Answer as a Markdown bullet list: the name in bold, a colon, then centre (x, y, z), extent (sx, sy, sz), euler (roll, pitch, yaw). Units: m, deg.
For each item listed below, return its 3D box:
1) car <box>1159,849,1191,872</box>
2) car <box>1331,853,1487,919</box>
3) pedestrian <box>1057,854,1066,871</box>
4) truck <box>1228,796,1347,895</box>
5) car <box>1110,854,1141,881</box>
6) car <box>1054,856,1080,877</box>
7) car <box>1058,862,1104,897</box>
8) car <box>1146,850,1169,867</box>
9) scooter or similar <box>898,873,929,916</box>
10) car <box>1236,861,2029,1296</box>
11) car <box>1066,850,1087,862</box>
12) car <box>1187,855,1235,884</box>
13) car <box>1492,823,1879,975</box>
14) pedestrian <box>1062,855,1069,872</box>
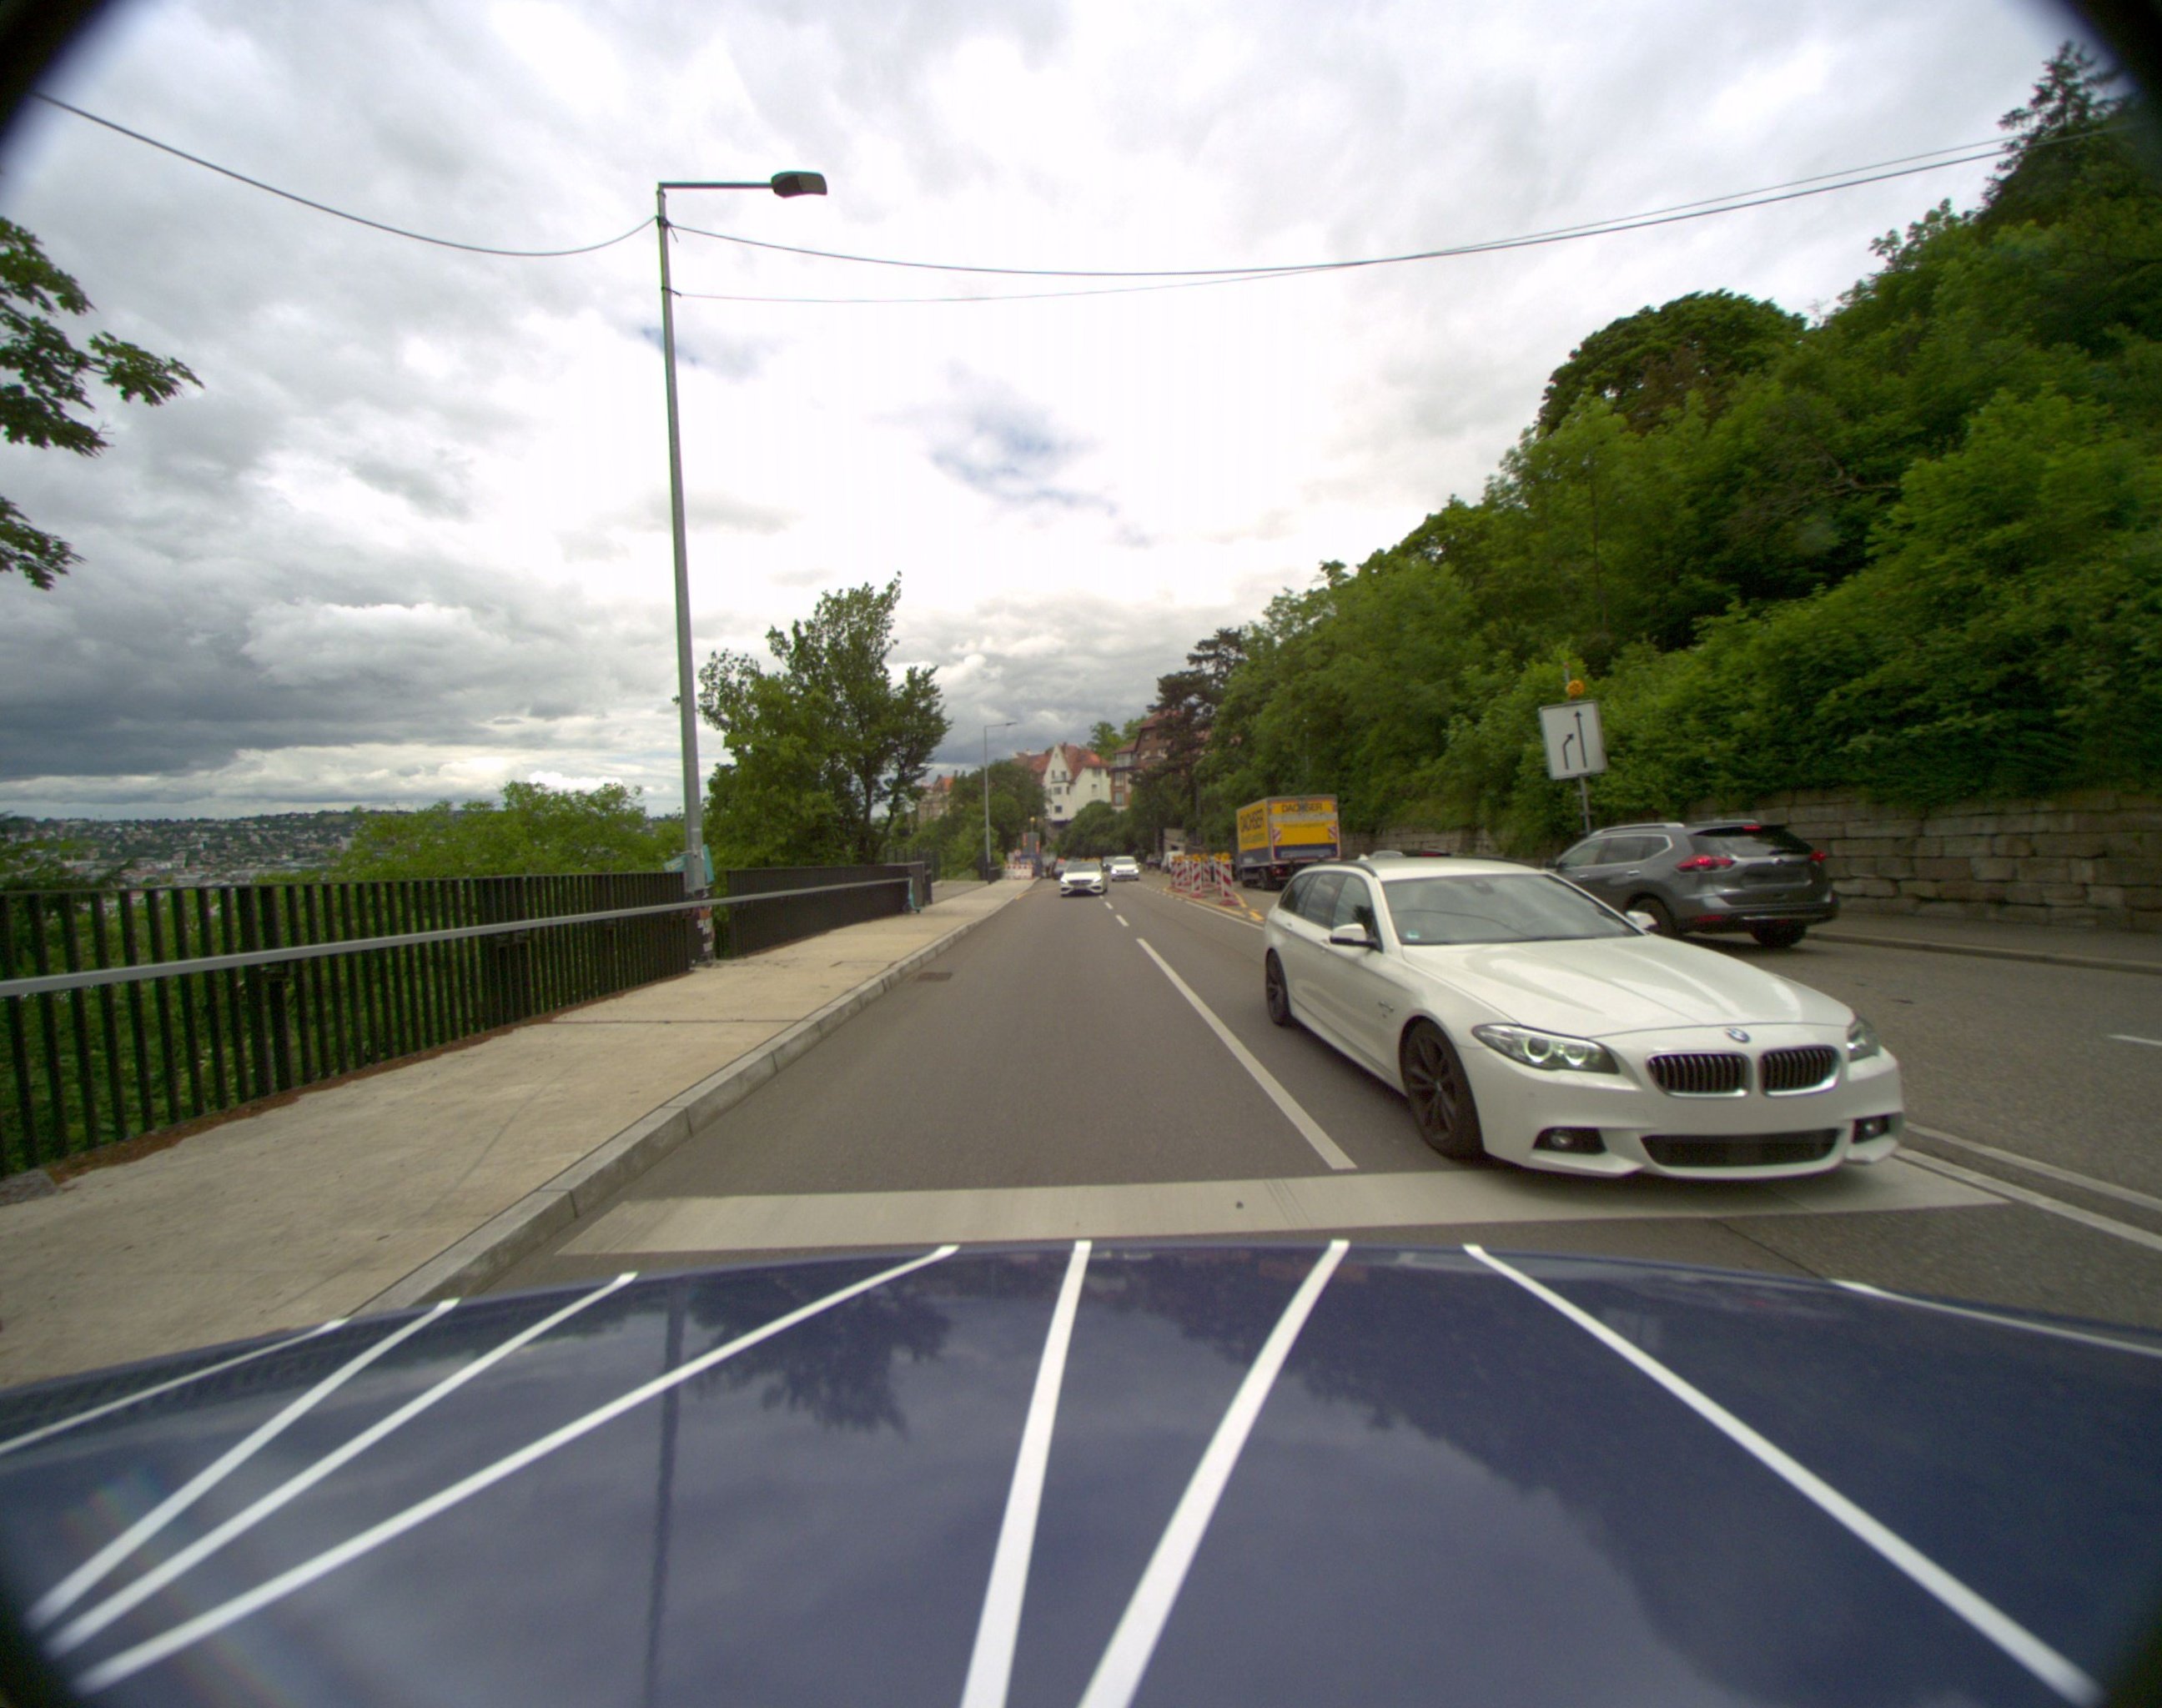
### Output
- **car**: centre (7.733, 0.513, 63.167), extent (1.808, 1.780, 4.340), euler (-3, 0, -3)
- **car**: centre (8.200, 0.723, 19.566), extent (1.814, 1.421, 4.874), euler (-2, 0, -1)
- **pedestrian**: centre (-2.147, 0.975, 85.061), extent (0.620, 1.873, 0.717), euler (0, -3, -41)
- **truck**: centre (8.143, -0.329, 31.038), extent (2.738, 3.489, 7.349), euler (-2, 0, 0)
- **car**: centre (2.889, 0.878, 49.798), extent (1.885, 1.569, 4.000), euler (-3, 0, 2)
- **car**: centre (-1.056, 0.955, 59.332), extent (1.845, 1.446, 4.627), euler (-2, 0, 0)
- **car**: centre (0.052, 1.024, 32.342), extent (1.797, 1.299, 4.101), euler (-2, 0, 2)
- **car**: centre (7.782, 0.470, 77.607), extent (1.836, 1.583, 4.654), euler (-3, 0, -1)
- **scooter or similar**: centre (-4.878, 1.171, 22.244), extent (0.535, 1.219, 1.207), euler (0, -1, 6)
- **car**: centre (2.569, 0.859, 5.274), extent (1.853, 1.458, 4.878), euler (-3, 0, -1)
- **car**: centre (-0.734, 0.306, 121.529), extent (1.771, 1.587, 3.784), euler (-8, 2, -25)
- **car**: centre (7.267, 0.824, 42.990), extent (1.775, 1.433, 4.745), euler (-3, 0, -1)
- **car**: centre (8.314, 0.539, 11.185), extent (1.888, 1.687, 4.671), euler (-2, 0, -1)
- **pedestrian**: centre (-1.709, 1.019, 83.028), extent (0.640, 1.848, 0.834), euler (0, 0, -12)
